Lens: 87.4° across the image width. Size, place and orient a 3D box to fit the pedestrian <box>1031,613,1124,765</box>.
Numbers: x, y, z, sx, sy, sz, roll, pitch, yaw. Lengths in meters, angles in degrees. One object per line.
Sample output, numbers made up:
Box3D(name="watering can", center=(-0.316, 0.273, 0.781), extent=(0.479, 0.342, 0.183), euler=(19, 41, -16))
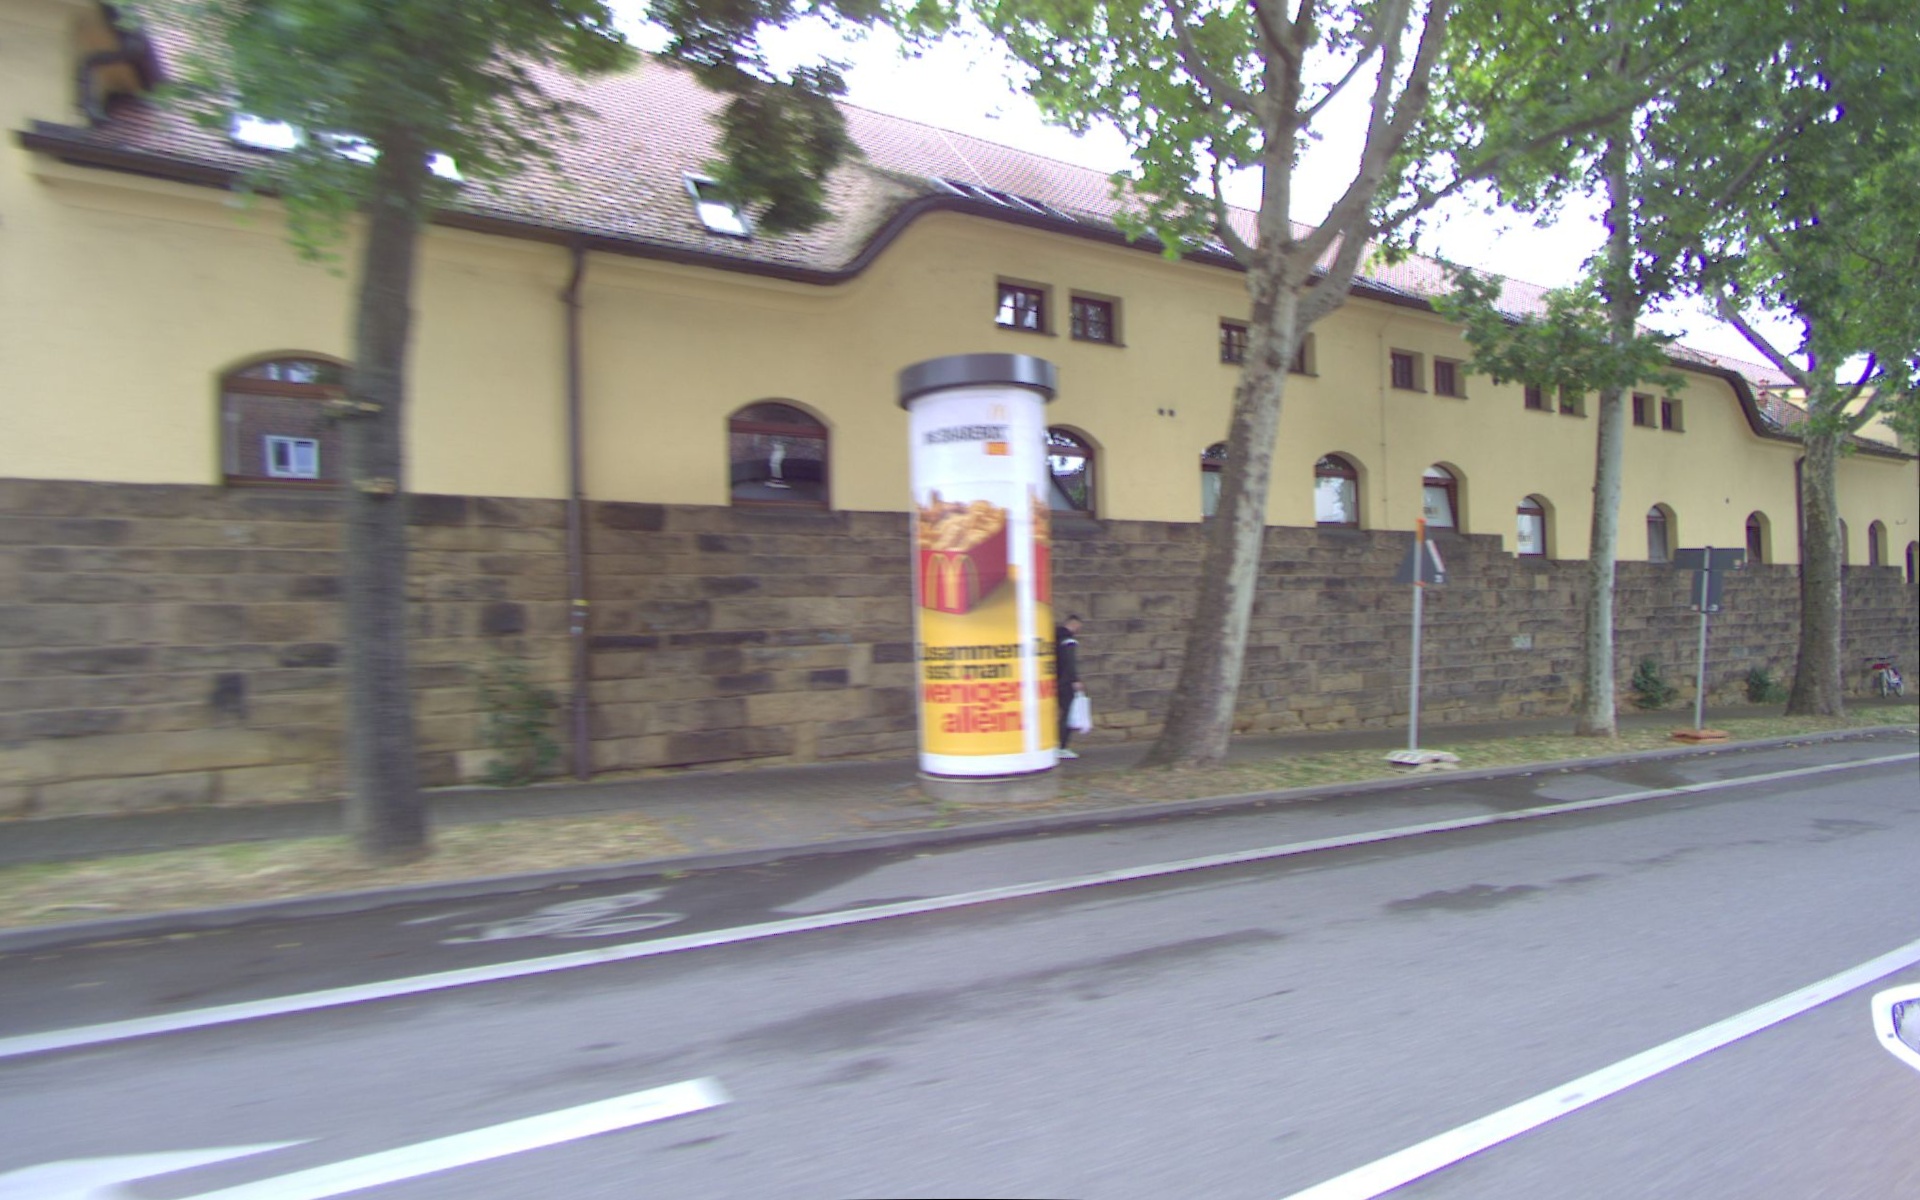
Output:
Box3D(name="pedestrian", center=(1.464, 1.084, 12.592), extent=(0.864, 1.818, 0.773), euler=(1, -2, -30))

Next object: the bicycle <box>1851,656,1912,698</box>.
Box3D(name="bicycle", center=(25.787, 2.137, 28.104), extent=(2.168, 1.106, 0.594), euler=(1, 0, -29))
